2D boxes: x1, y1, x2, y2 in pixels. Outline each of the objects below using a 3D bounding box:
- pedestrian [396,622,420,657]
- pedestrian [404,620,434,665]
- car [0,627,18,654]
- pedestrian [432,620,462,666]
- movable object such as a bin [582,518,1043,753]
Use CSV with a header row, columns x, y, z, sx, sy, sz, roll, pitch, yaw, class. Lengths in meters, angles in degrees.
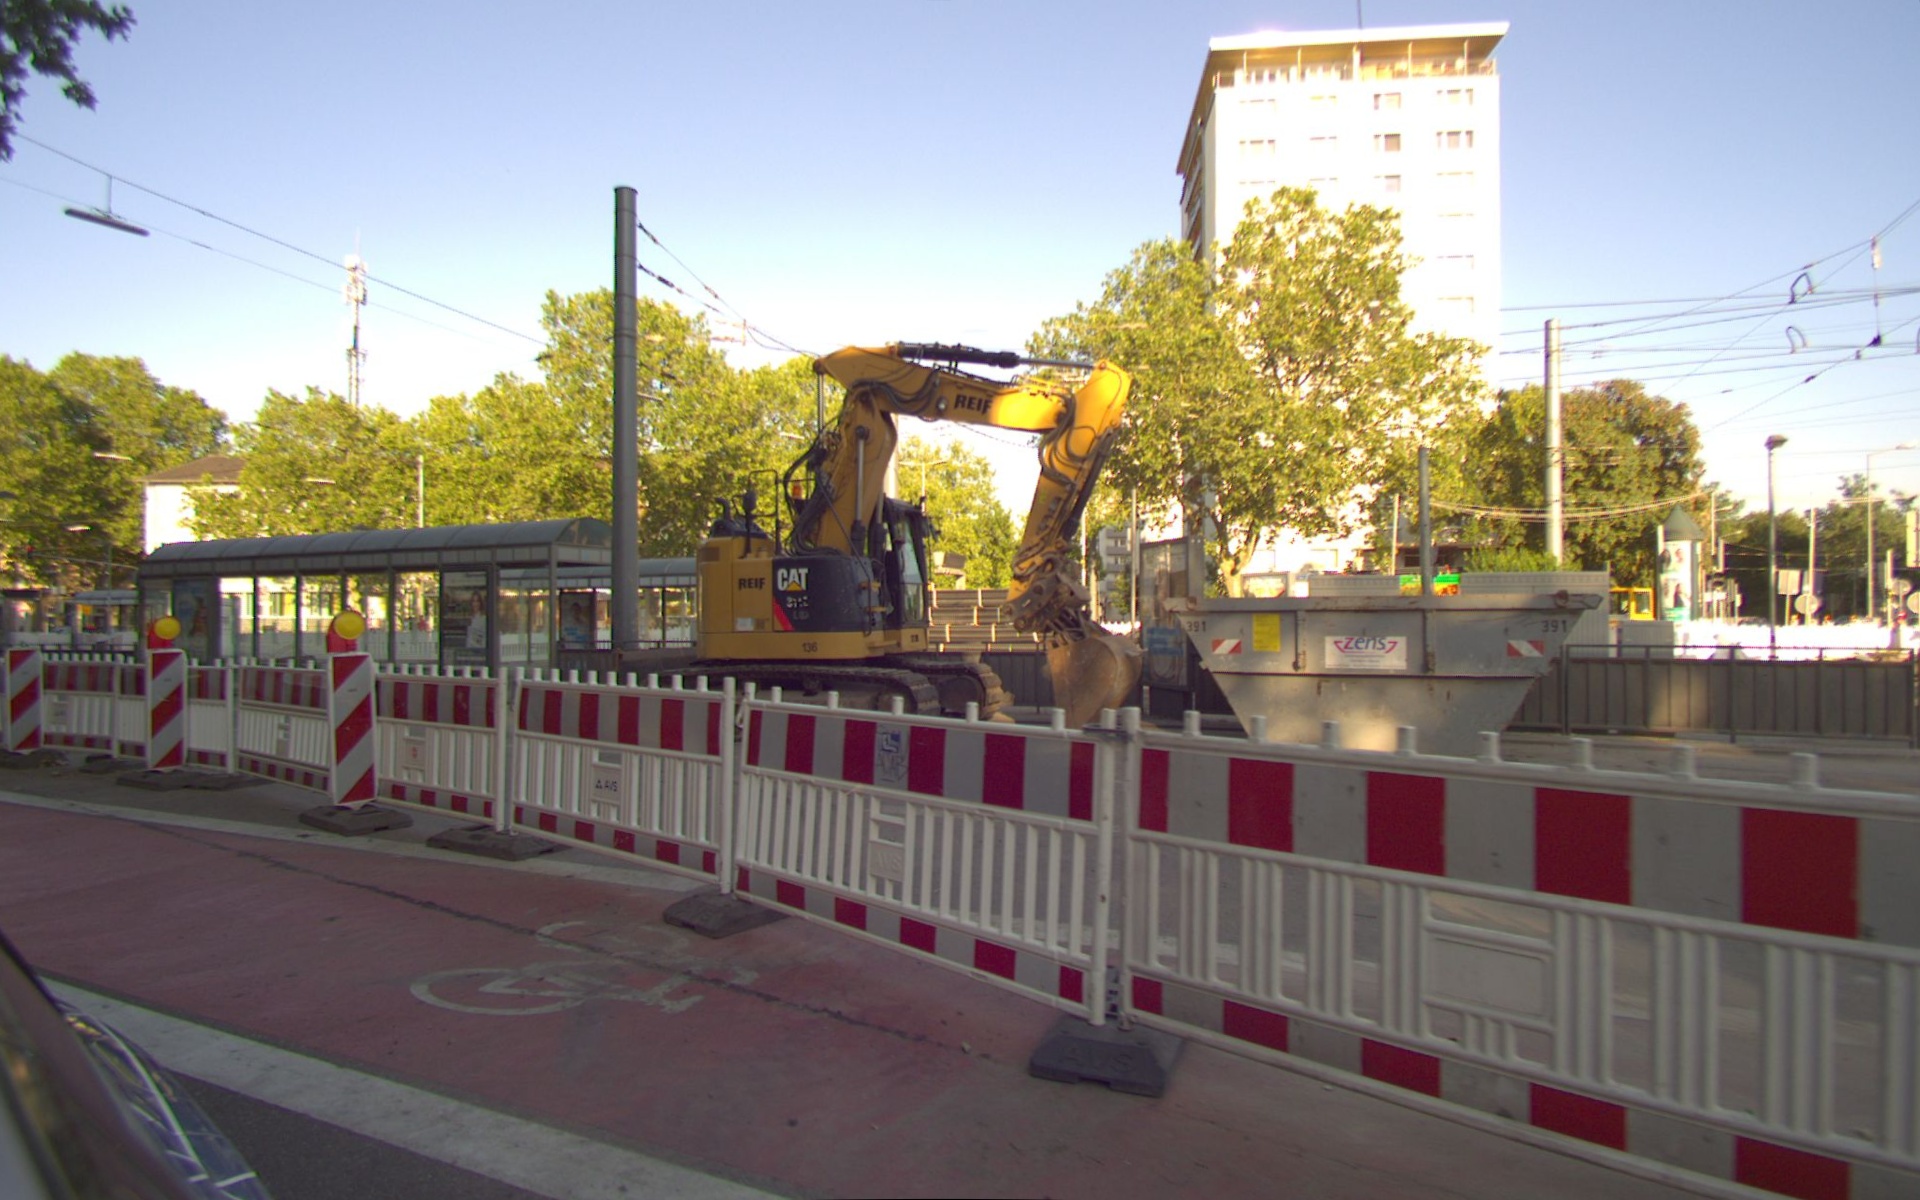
x,y,z,sx,sy,sz,roll,pitch,yaw,class
-31.754,2.277,58.231,0.880,2.029,0.878,-1,-2,19,pedestrian
-25.023,1.946,46.812,0.880,2.029,0.878,-1,-2,30,pedestrian
-58.194,2.394,59.932,3.348,1.586,1.680,-1,-1,5,car
-22.864,1.909,45.121,0.880,2.029,0.878,-1,-2,30,pedestrian
-1.717,0.414,12.209,4.869,2.335,2.632,-1,-1,22,movable object such as a bin
